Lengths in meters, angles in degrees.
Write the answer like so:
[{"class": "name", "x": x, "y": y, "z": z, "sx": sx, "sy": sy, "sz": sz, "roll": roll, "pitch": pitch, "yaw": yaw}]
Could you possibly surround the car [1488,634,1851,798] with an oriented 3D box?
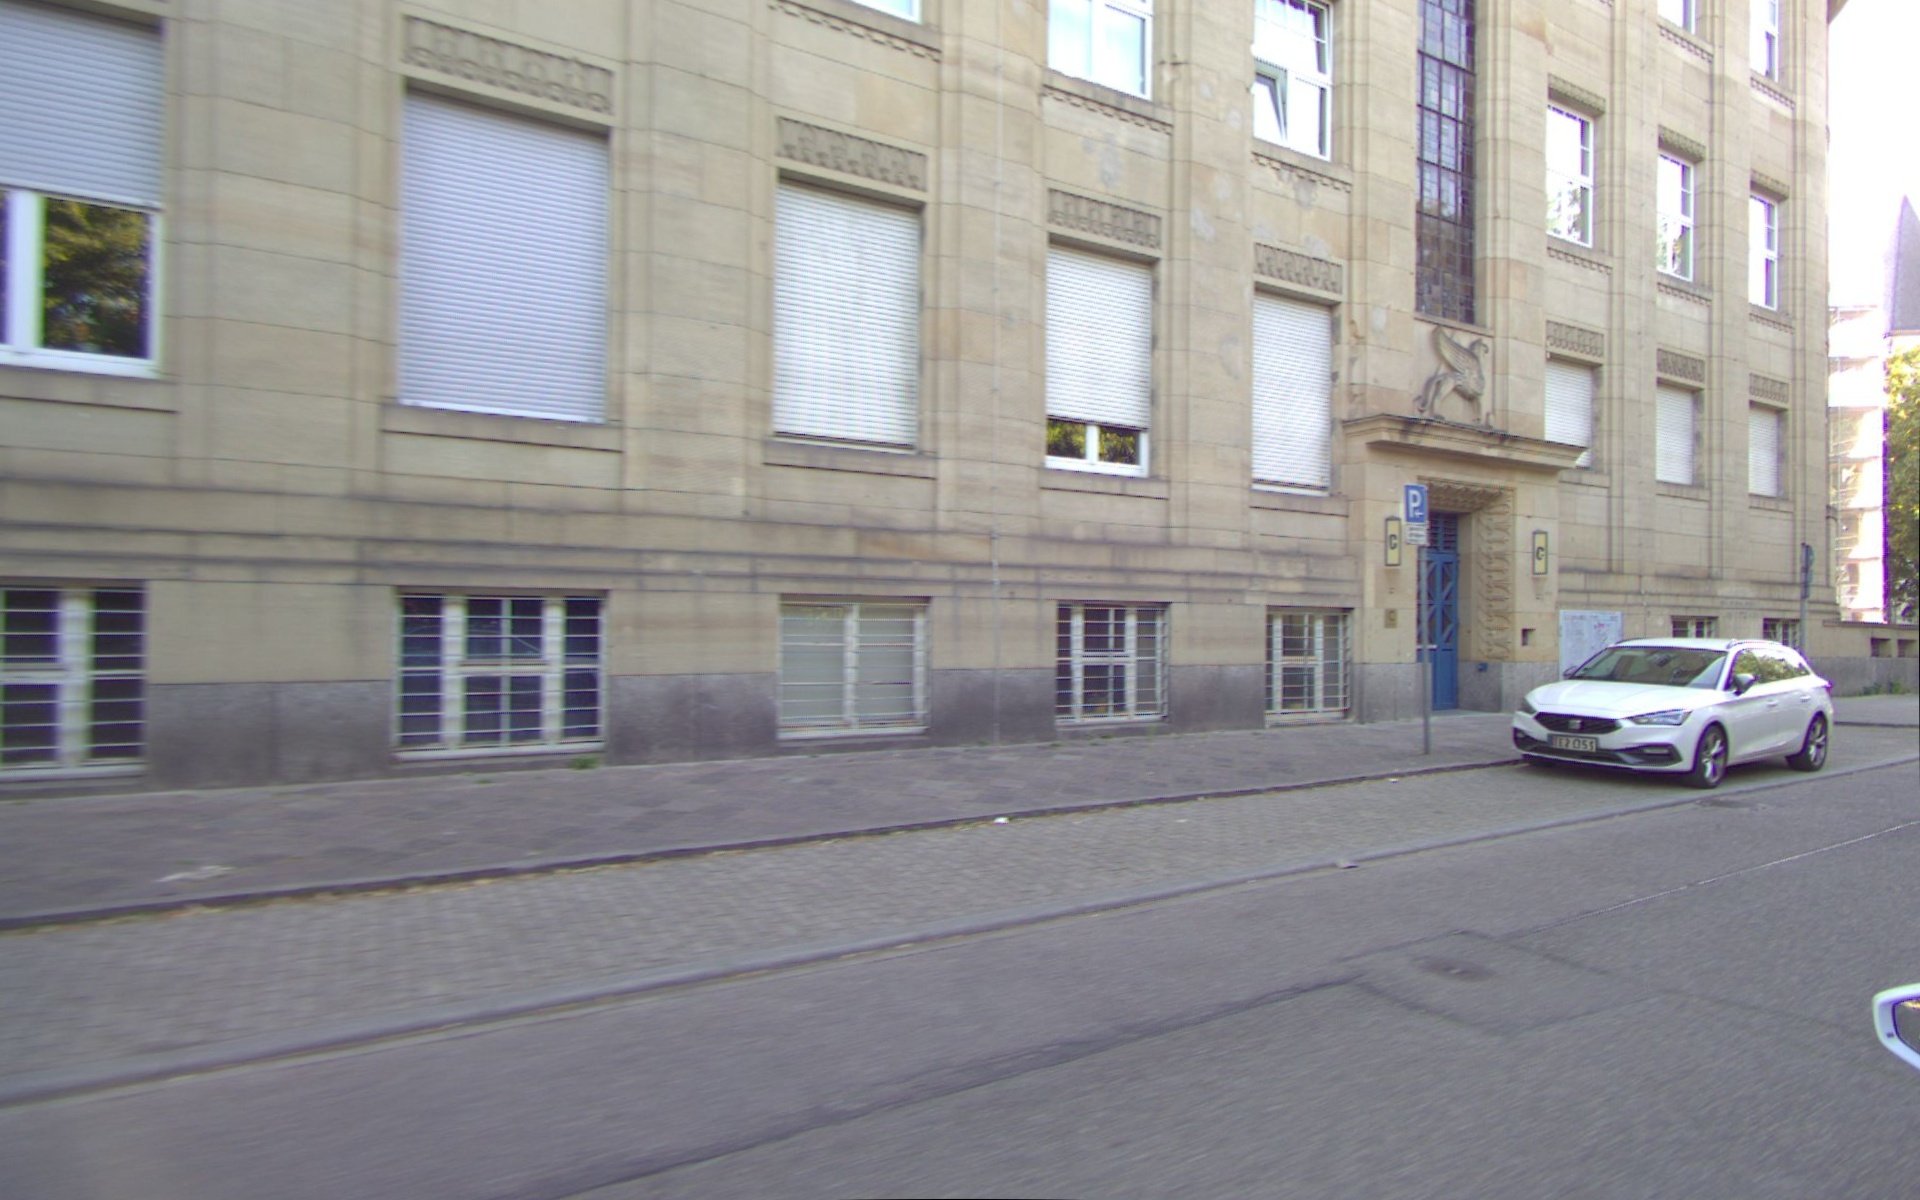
[{"class": "car", "x": 7.965, "y": 1.131, "z": 11.153, "sx": 4.511, "sy": 1.454, "sz": 1.734, "roll": 1, "pitch": -1, "yaw": -33}]
